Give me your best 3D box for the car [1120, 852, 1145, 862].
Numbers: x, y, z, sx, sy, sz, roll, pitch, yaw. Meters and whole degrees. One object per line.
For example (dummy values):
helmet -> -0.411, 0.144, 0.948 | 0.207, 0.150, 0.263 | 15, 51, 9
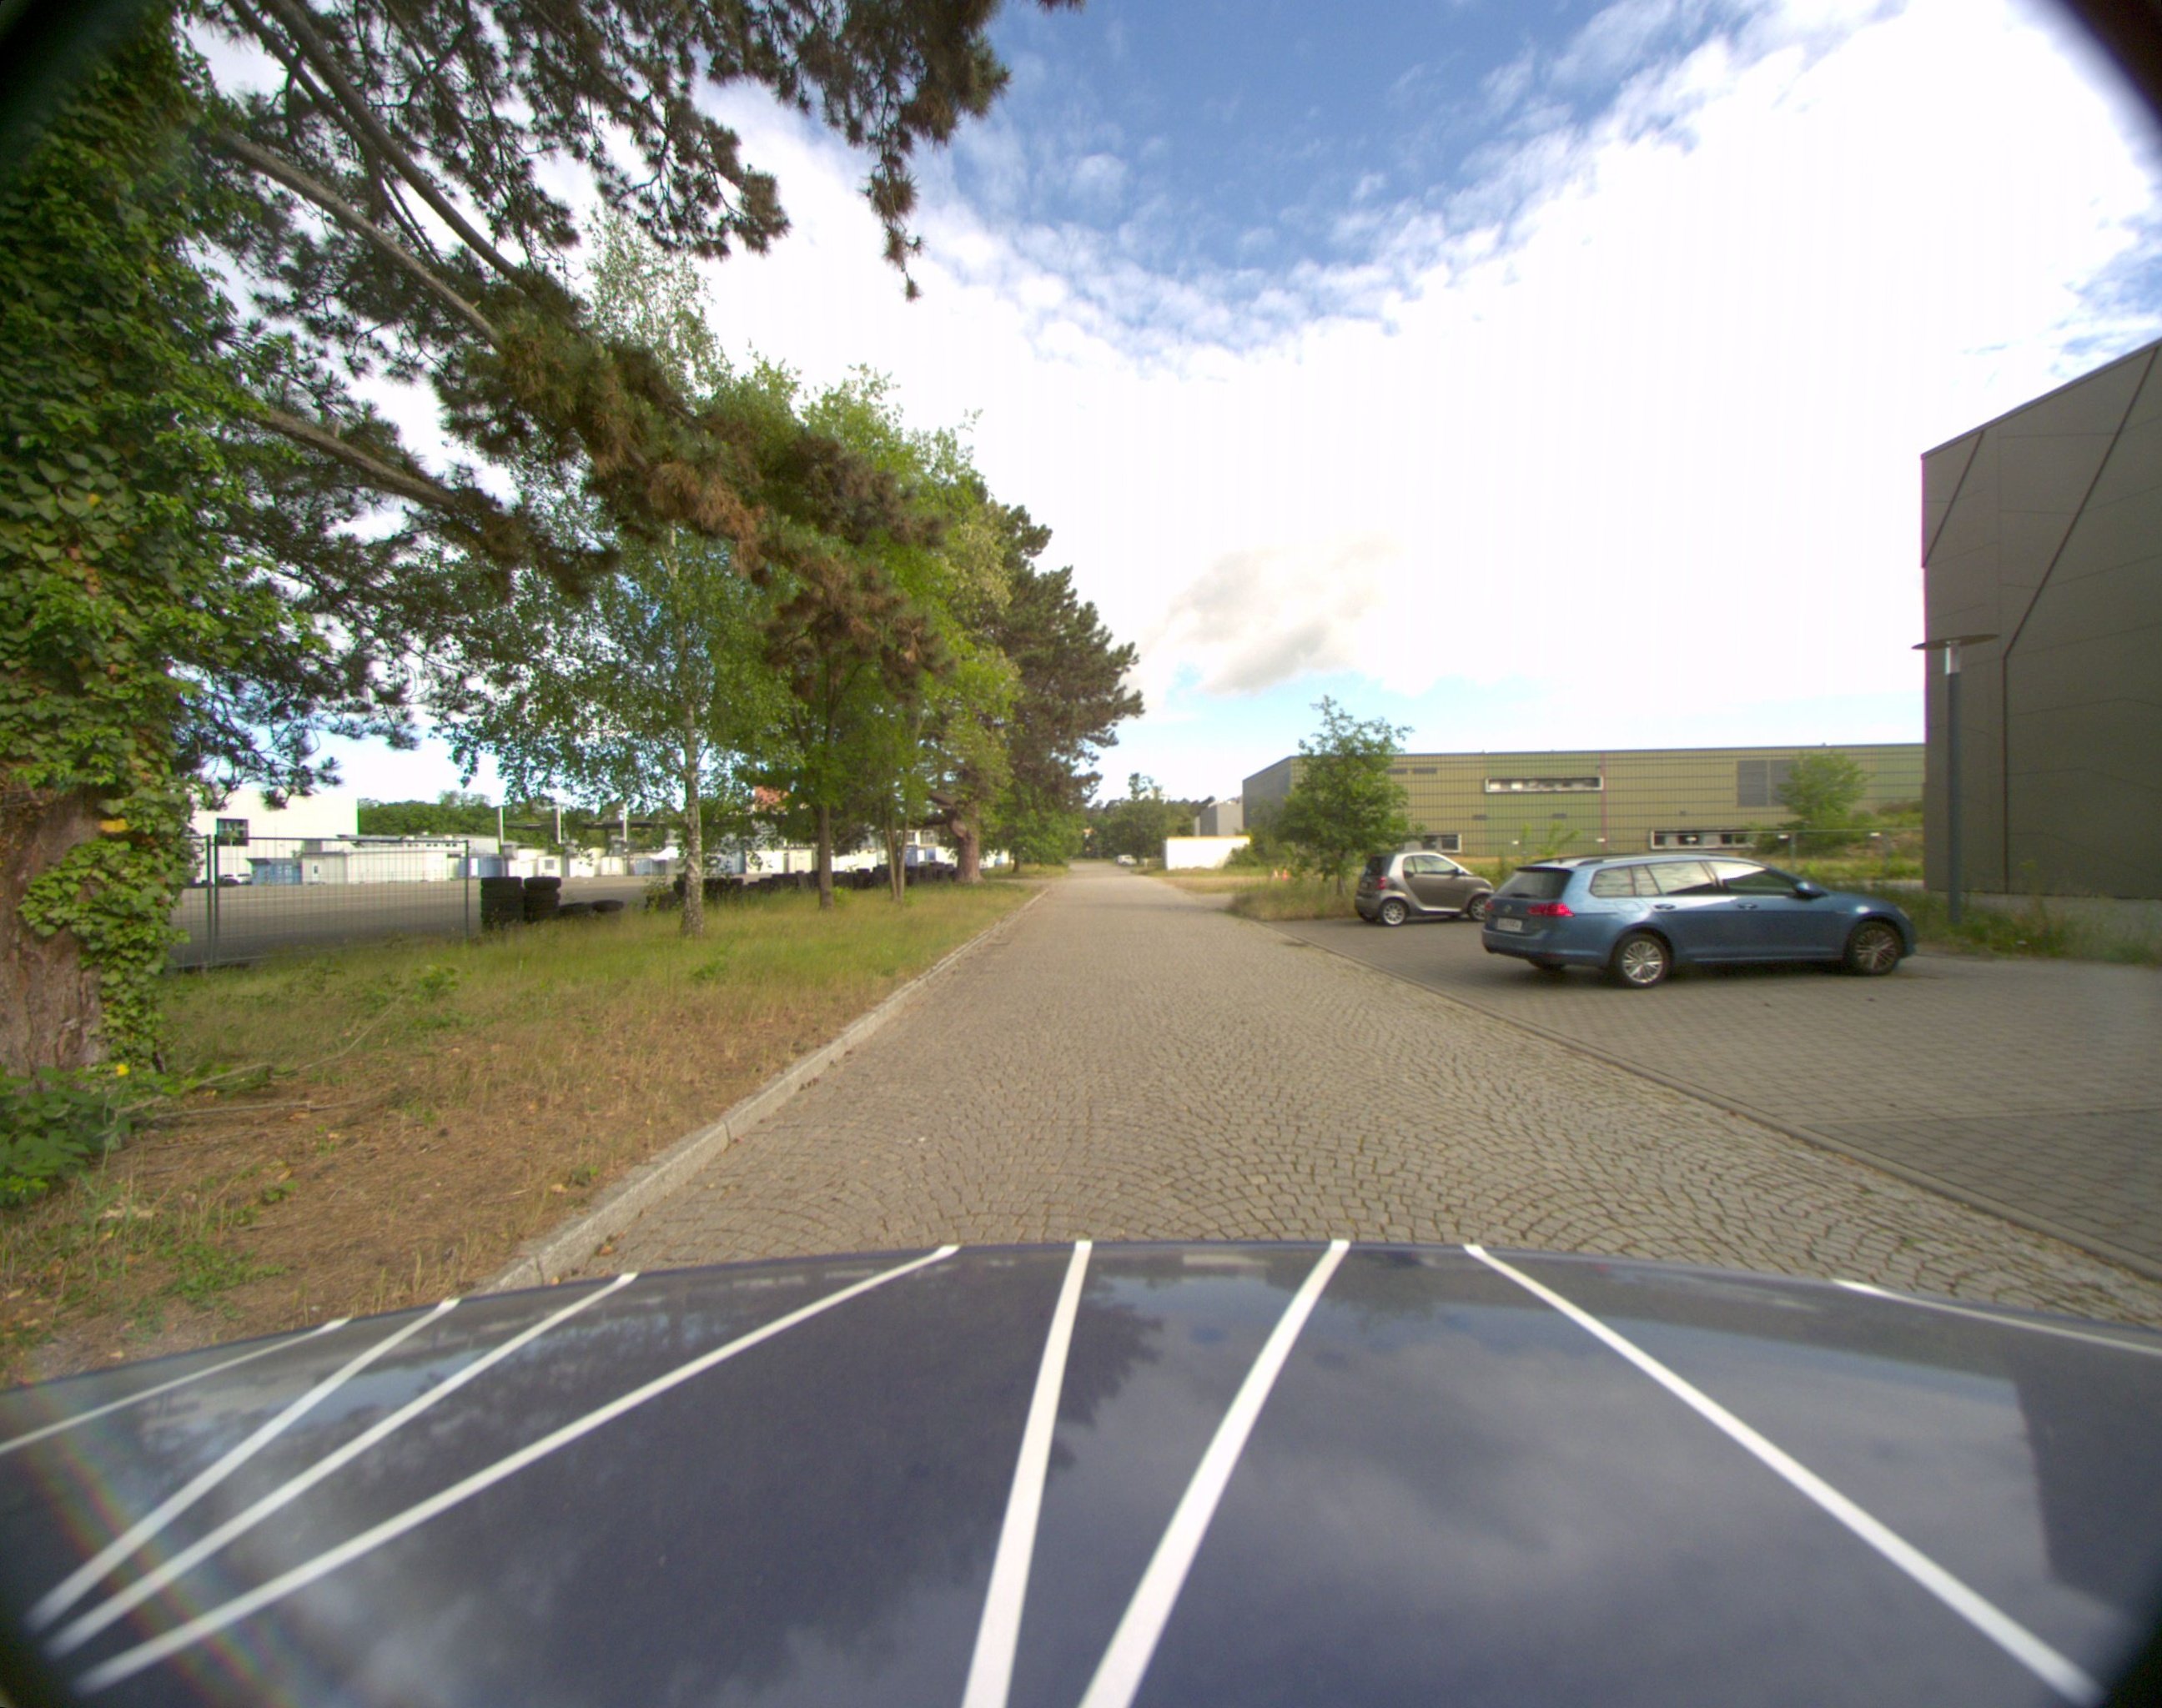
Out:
car -> 8.331, 0.447, 123.665 | 3.996, 1.604, 1.797 | -1, 0, 4

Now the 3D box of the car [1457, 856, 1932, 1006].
car -> 7.138, 0.826, 9.141 | 4.317, 1.420, 1.773 | -3, 0, -2

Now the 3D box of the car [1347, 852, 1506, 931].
car -> 7.389, 0.767, 16.442 | 2.661, 1.502, 1.610 | -3, 0, 0
